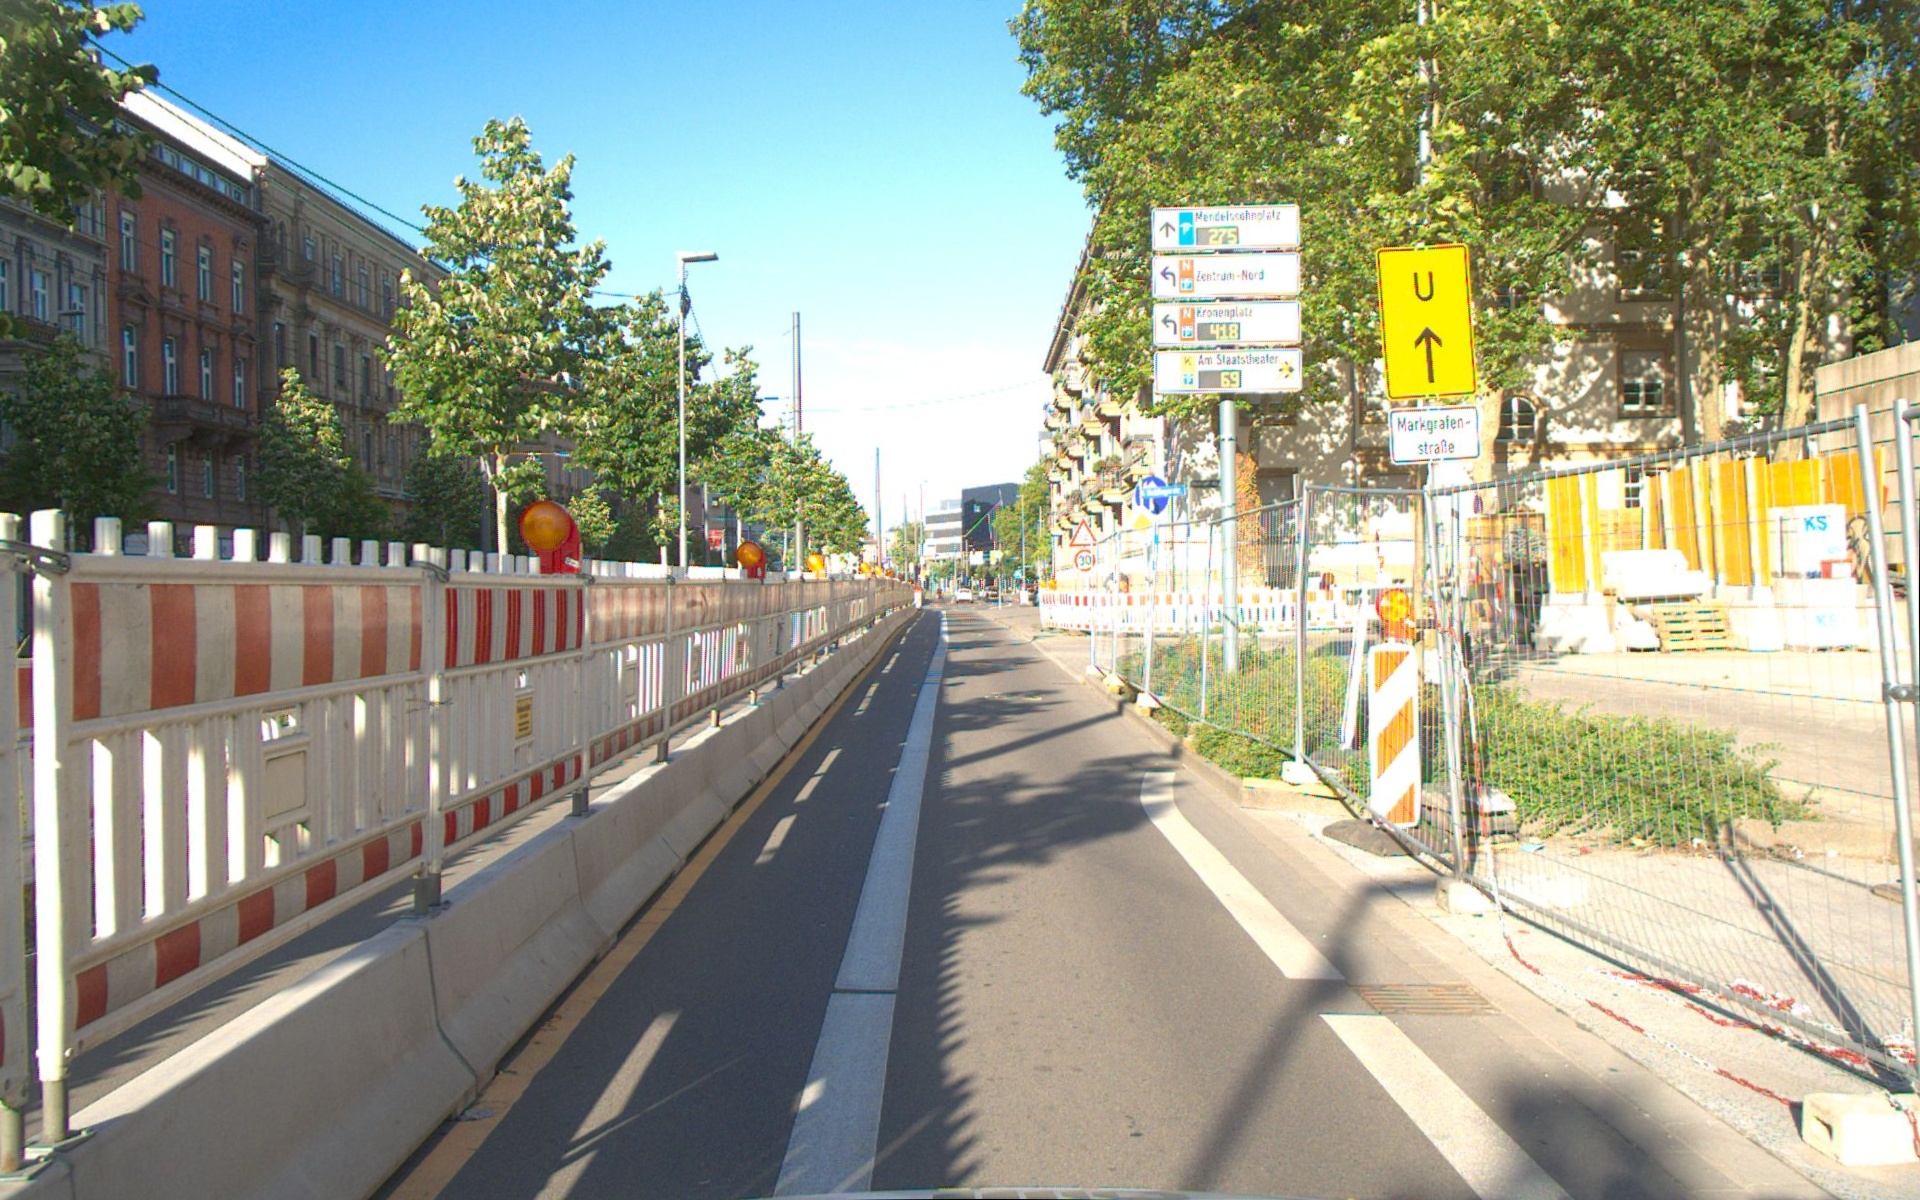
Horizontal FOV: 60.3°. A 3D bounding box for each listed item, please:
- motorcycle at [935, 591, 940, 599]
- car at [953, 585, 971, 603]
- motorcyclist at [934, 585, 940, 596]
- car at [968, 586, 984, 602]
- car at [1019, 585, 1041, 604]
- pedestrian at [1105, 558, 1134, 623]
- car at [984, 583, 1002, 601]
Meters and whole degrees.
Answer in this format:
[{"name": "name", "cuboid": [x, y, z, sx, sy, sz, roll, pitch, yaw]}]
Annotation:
[{"name": "motorcycle", "cuboid": [-2.802, -0.639, 202.891, 0.618, 0.912, 1.621, -1, 1, 0]}, {"name": "car", "cuboid": [0.202, -0.635, 173.265, 1.845, 1.875, 3.667, -1, 1, 0]}, {"name": "motorcyclist", "cuboid": [-2.814, -1.190, 202.963, 0.618, 1.285, 0.605, -1, 0, -1]}, {"name": "car", "cuboid": [1.993, -0.782, 208.240, 1.845, 1.875, 3.667, -1, 1, 0]}, {"name": "car", "cuboid": [6.507, -0.525, 154.146, 1.844, 1.617, 3.668, -1, 1, 0]}, {"name": "pedestrian", "cuboid": [4.394, -0.267, 45.600, 0.656, 1.776, 0.777, -1, 0, -5]}, {"name": "car", "cuboid": [3.625, -0.878, 182.581, 1.845, 1.875, 3.667, -1, 1, 0]}]
